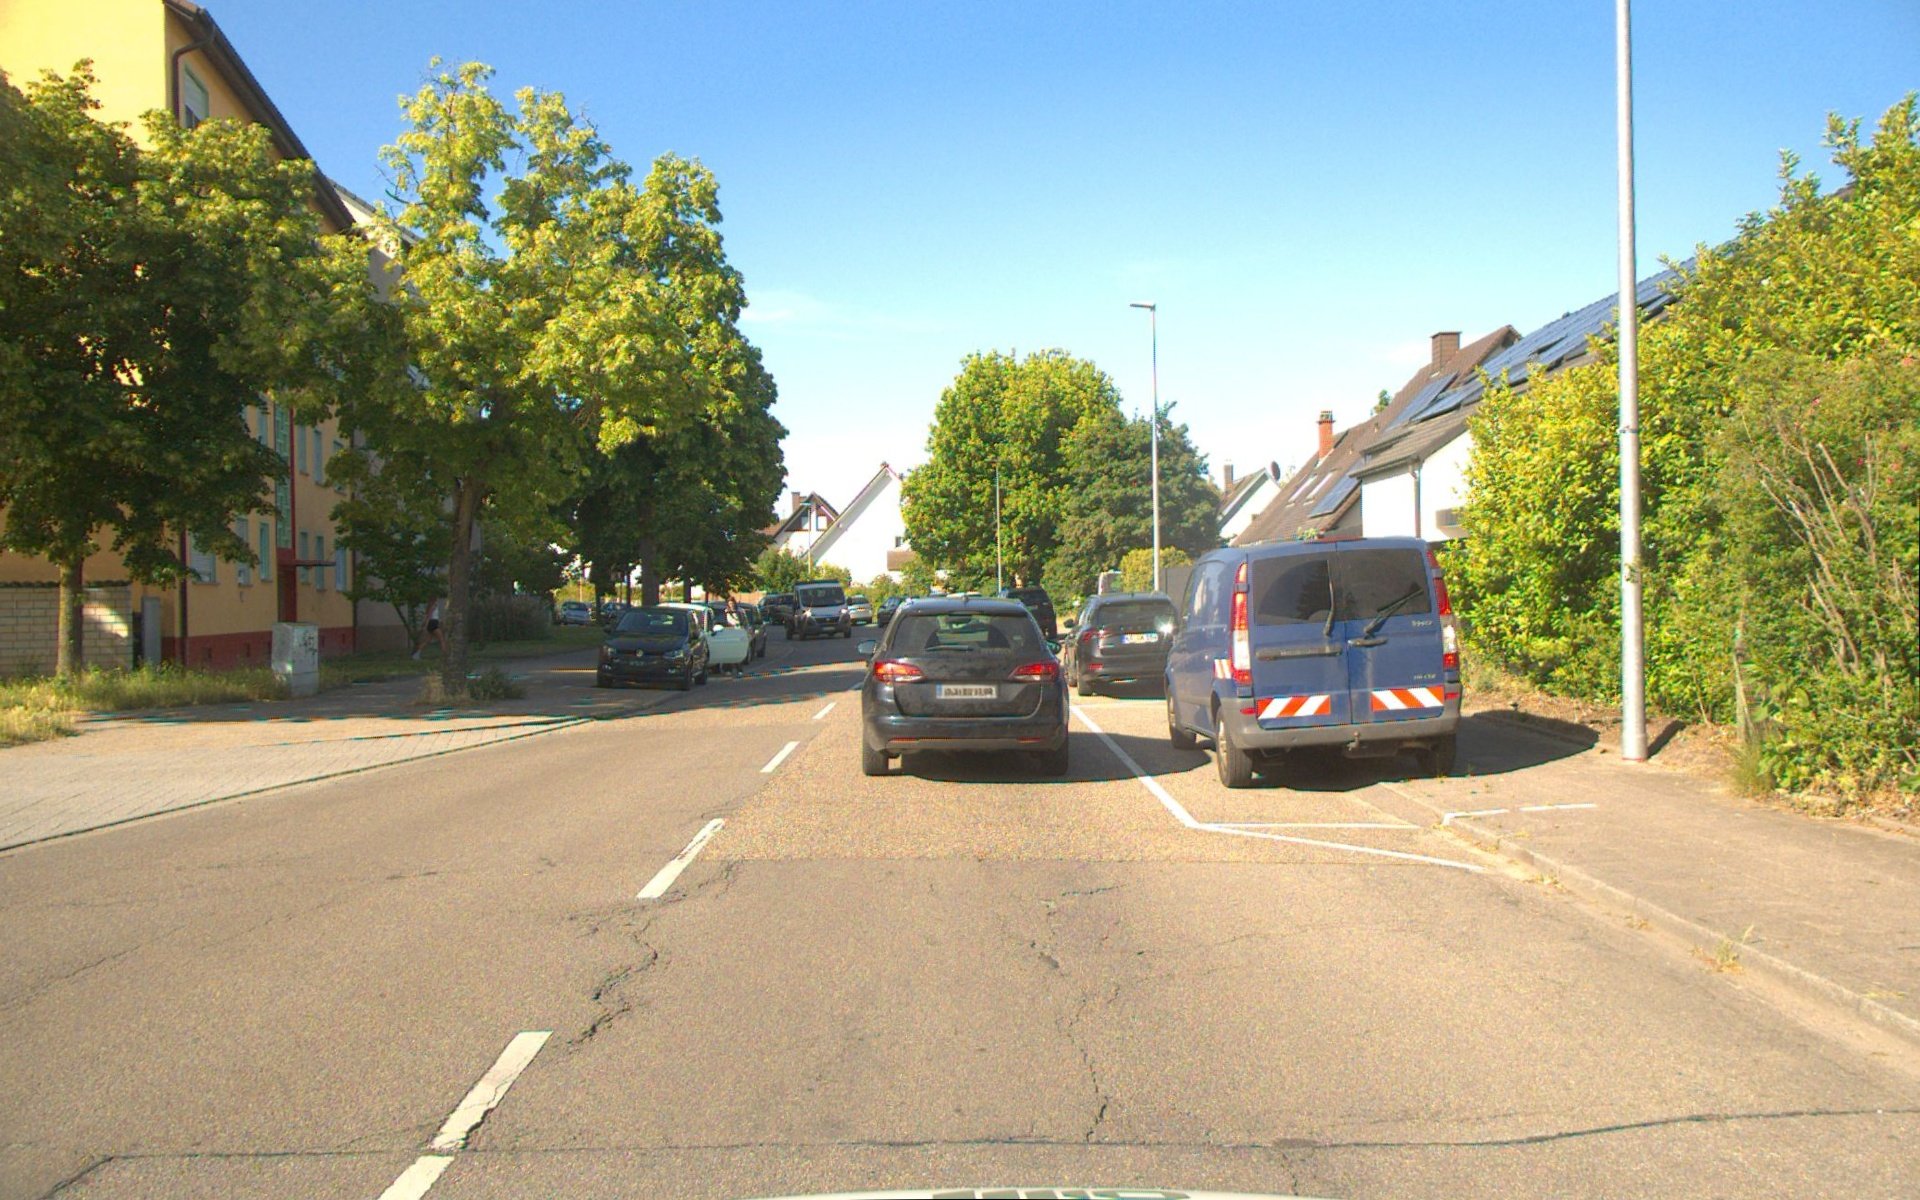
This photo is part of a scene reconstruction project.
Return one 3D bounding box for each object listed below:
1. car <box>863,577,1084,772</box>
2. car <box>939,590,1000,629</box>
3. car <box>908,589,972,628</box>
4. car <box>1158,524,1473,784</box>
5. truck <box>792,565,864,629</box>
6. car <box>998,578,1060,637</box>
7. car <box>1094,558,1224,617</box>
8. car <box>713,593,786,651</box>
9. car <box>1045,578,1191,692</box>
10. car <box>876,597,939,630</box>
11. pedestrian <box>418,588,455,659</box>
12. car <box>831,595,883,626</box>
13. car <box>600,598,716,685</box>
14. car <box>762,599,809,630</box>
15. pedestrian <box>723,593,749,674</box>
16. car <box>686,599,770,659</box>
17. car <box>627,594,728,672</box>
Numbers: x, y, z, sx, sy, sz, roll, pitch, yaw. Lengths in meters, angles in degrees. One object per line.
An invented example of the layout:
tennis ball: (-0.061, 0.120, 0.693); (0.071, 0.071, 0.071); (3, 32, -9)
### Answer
car: (0.083, 0.599, 15.059); (1.726, 1.517, 4.290); (0, -1, -1)
car: (0.363, 0.393, 68.325); (1.729, 1.506, 4.283); (-2, 0, -11)
car: (-0.934, 0.393, 72.936); (1.879, 1.628, 4.278); (-2, 0, -14)
car: (2.956, 0.400, 14.802); (1.799, 1.941, 4.697); (-1, 0, 0)
truck: (-5.320, -0.116, 67.470); (2.085, 2.375, 6.444); (-2, 0, 2)
car: (2.147, 0.238, 52.517); (1.741, 1.754, 4.293); (-2, 0, 0)
car: (7.430, -0.461, 62.135); (4.585, 2.018, 2.142); (-2, -1, -1)
car: (-6.187, 0.606, 48.967); (1.535, 1.556, 3.918); (3, 0, 0)
car: (2.338, 0.467, 25.561); (1.729, 1.506, 4.991); (-2, 0, 0)
car: (-2.509, 0.653, 78.114); (1.973, 1.501, 4.274); (-2, 0, -16)
pedestrian: (-13.133, 0.606, 41.512); (0.671, 1.748, 0.720); (-2, -2, -1)
car: (-5.466, 0.575, 87.024); (1.791, 1.561, 4.238); (-2, 0, -17)
car: (-5.595, 0.783, 31.065); (1.667, 1.506, 4.048); (1, -2, -4)
car: (-10.325, 0.872, 97.411); (1.874, 1.695, 4.168); (-2, -1, -19)
pedestrian: (-5.029, 0.759, 37.099); (0.494, 1.792, 0.694); (-2, -2, -4)
car: (-6.149, 0.752, 44.252); (1.623, 1.536, 4.000); (0, 0, 1)
car: (-6.187, 0.743, 36.610); (1.667, 1.550, 4.049); (-2, -1, -3)
